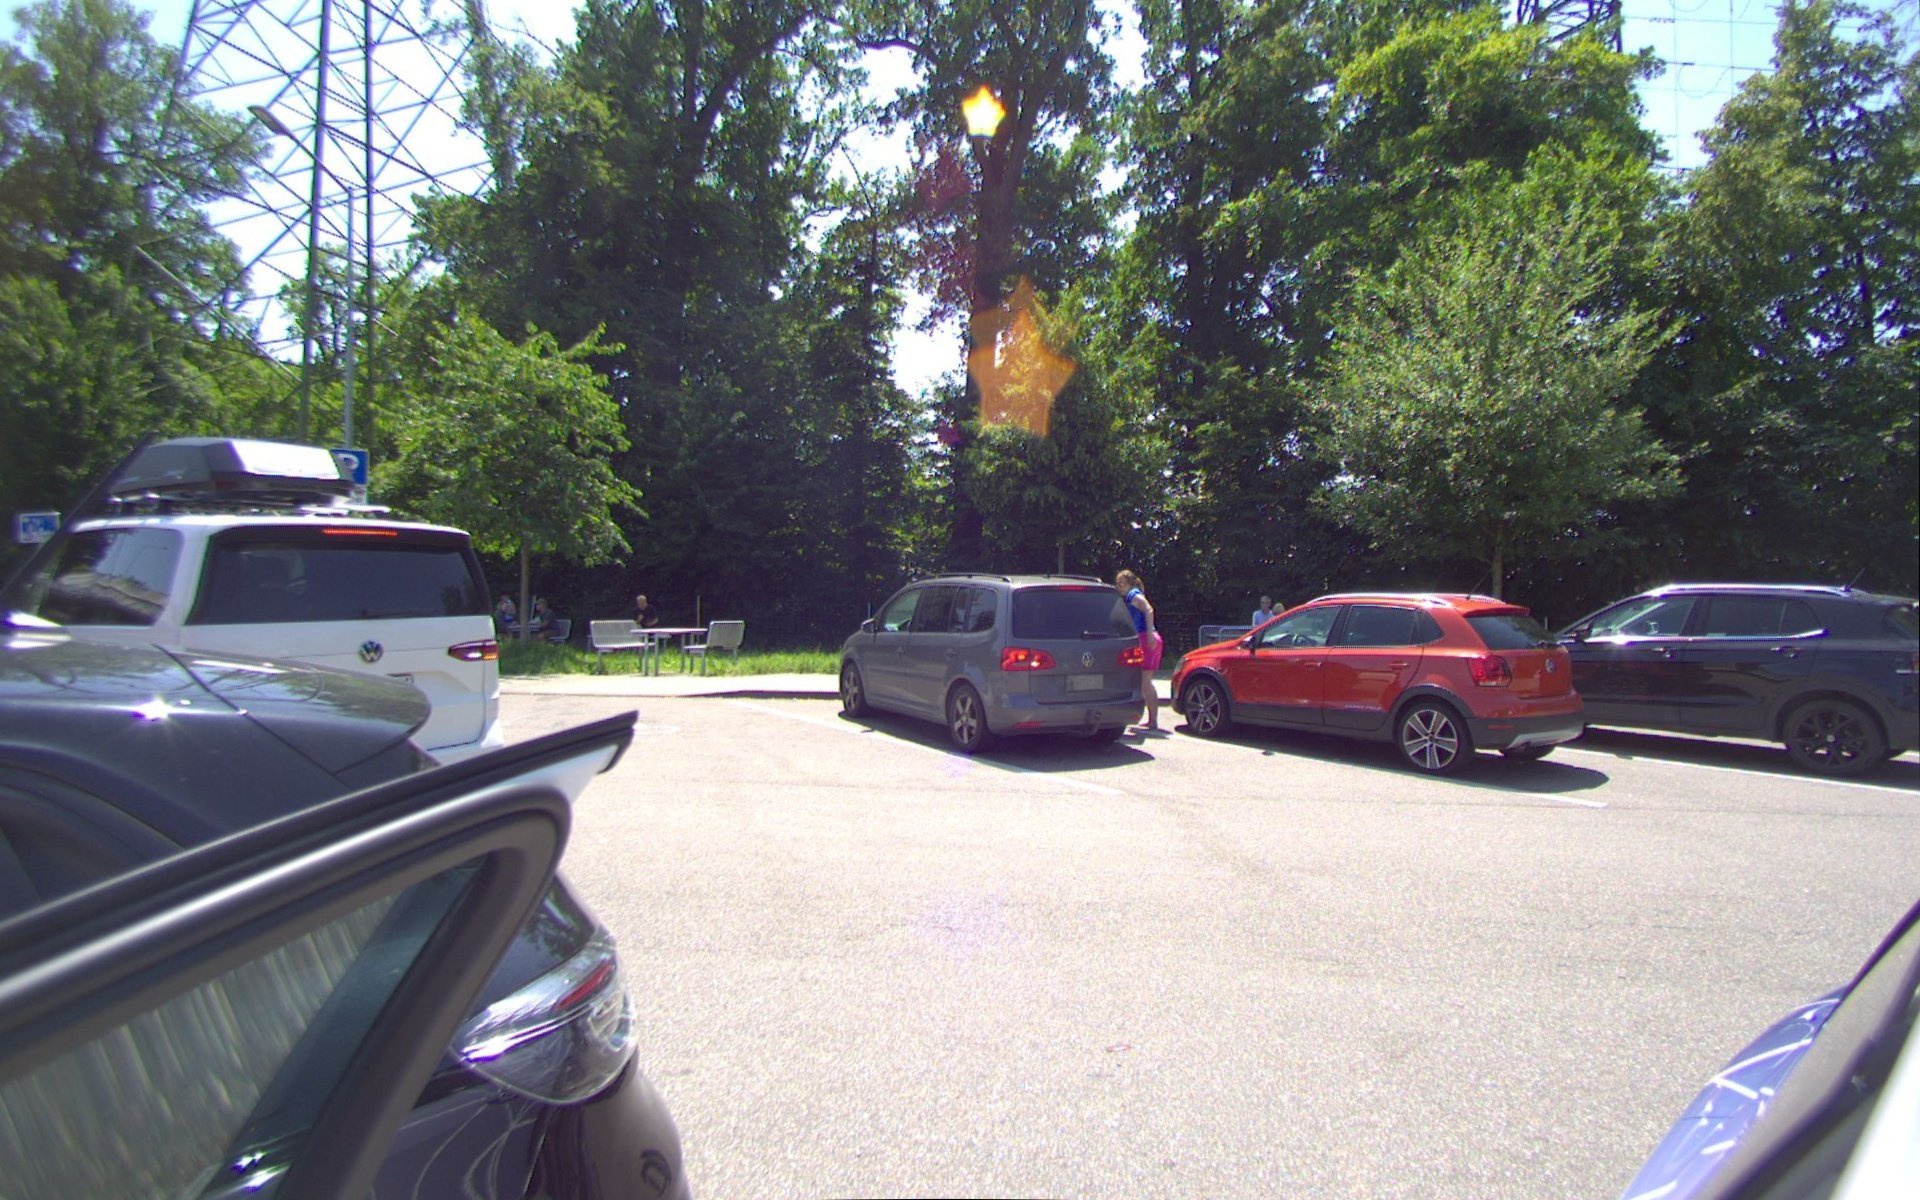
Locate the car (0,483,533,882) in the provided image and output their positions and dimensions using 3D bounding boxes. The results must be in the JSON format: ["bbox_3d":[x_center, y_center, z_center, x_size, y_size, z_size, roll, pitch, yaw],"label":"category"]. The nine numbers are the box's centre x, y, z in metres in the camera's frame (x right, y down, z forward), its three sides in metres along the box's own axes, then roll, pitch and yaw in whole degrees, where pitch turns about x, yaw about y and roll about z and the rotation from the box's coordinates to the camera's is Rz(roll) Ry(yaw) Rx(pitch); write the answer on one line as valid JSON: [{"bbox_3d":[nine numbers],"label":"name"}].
[{"bbox_3d":[-5.097,0.356,7.010,4.536,1.936,1.888,1,1,36],"label":"car"}]

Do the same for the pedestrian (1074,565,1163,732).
[{"bbox_3d":[1.716,0.486,10.866,0.726,1.703,0.912,0,0,24],"label":"pedestrian"}]

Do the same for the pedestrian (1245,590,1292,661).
[{"bbox_3d":[5.779,0.469,18.974,0.657,1.311,0.783,0,0,3],"label":"pedestrian"}]

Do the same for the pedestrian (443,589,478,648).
[{"bbox_3d":[-12.342,0.440,25.015,0.657,1.422,0.649,0,0,-39],"label":"pedestrian"}]

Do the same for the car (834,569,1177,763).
[{"bbox_3d":[0.246,0.510,10.514,1.713,1.601,3.996,0,1,-29],"label":"car"}]

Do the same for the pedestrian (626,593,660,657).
[{"bbox_3d":[-6.645,0.505,21.262,0.655,1.311,0.786,0,0,-16],"label":"pedestrian"}]

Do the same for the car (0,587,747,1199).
[{"bbox_3d":[-2.209,0.715,0.596,1.737,1.501,3.757,1,0,44],"label":"car"}]

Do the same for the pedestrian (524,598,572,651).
[{"bbox_3d":[-9.609,0.556,23.621,0.873,1.192,0.668,0,0,-41],"label":"pedestrian"}]

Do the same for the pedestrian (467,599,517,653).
[{"bbox_3d":[-10.525,0.568,22.767,0.873,1.192,0.668,0,0,-41],"label":"pedestrian"}]

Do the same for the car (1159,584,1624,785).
[{"bbox_3d":[3.847,0.605,9.645,1.687,1.484,3.793,0,1,-32],"label":"car"}]

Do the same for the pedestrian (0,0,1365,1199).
[{"bbox_3d":[-0.241,0.536,0.701,0.874,1.865,0.621,0,0,-38],"label":"pedestrian"}]

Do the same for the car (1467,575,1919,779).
[{"bbox_3d":[7.173,0.573,9.705,1.690,1.593,3.787,0,1,-39],"label":"car"}]

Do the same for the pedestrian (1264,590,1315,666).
[{"bbox_3d":[5.773,0.481,17.749,0.657,1.311,0.783,0,0,3],"label":"pedestrian"}]

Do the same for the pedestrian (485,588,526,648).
[{"bbox_3d":[-11.024,0.434,24.537,0.664,1.422,0.643,0,0,32],"label":"pedestrian"}]
